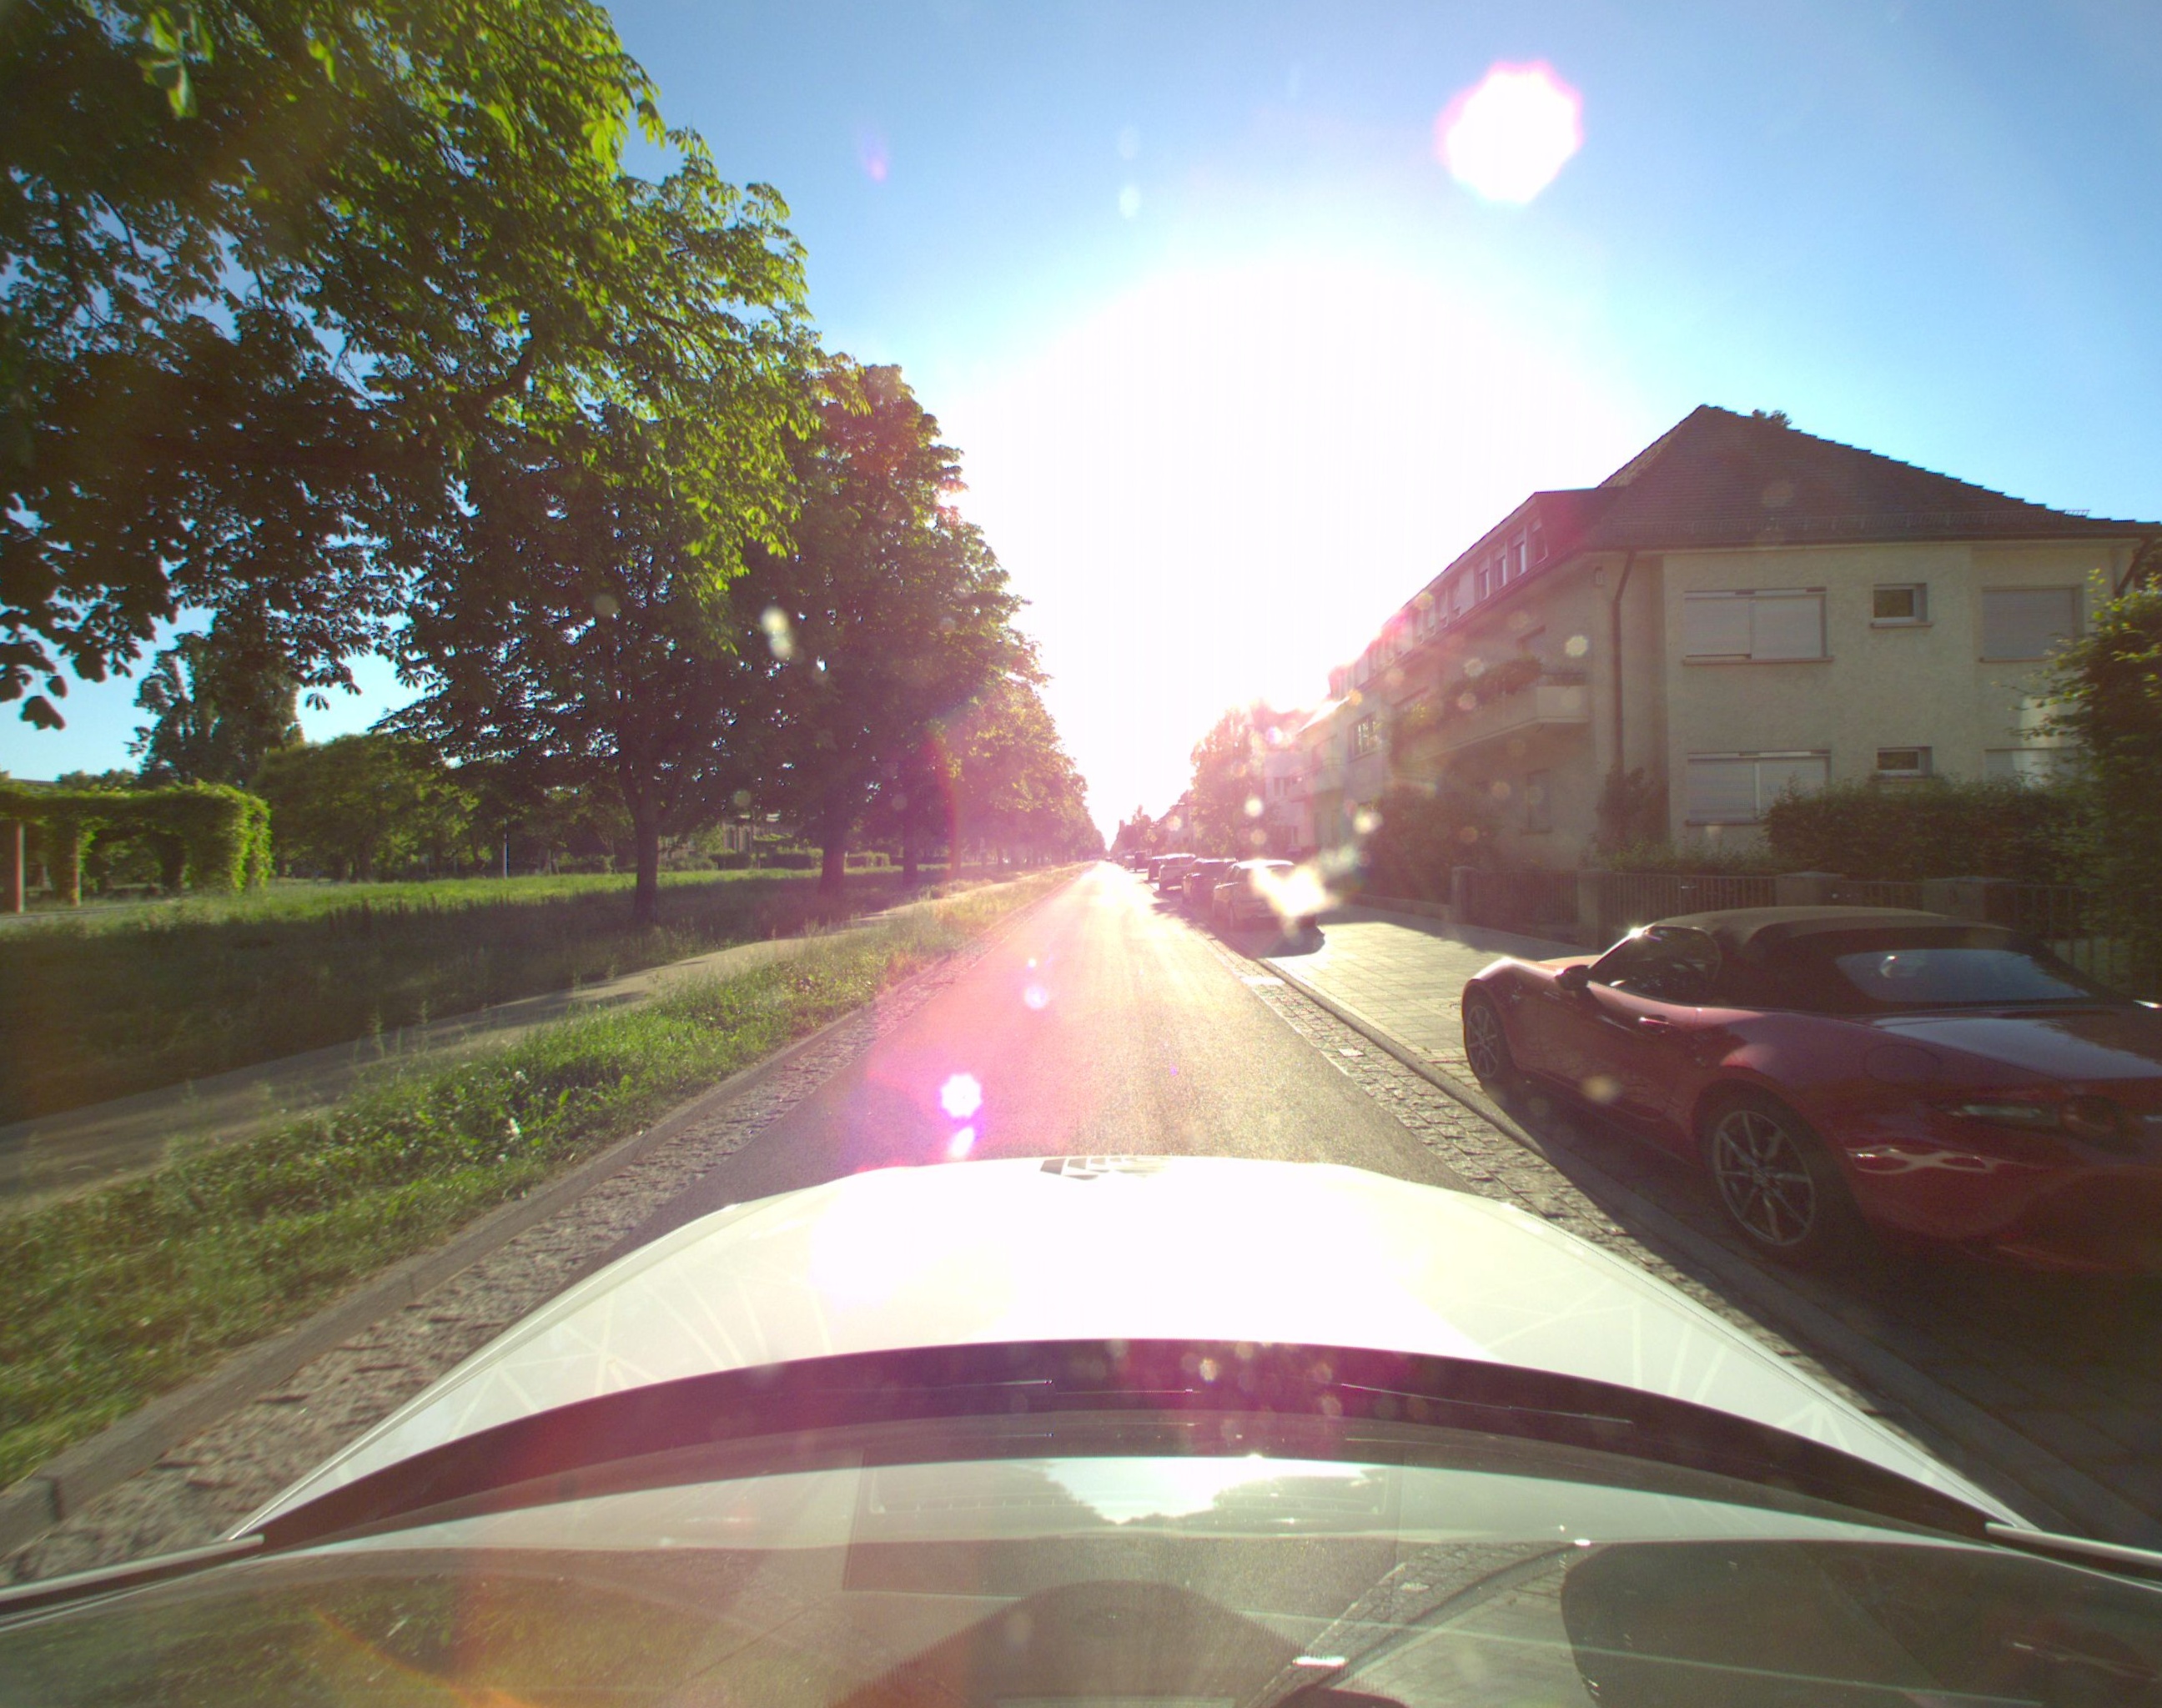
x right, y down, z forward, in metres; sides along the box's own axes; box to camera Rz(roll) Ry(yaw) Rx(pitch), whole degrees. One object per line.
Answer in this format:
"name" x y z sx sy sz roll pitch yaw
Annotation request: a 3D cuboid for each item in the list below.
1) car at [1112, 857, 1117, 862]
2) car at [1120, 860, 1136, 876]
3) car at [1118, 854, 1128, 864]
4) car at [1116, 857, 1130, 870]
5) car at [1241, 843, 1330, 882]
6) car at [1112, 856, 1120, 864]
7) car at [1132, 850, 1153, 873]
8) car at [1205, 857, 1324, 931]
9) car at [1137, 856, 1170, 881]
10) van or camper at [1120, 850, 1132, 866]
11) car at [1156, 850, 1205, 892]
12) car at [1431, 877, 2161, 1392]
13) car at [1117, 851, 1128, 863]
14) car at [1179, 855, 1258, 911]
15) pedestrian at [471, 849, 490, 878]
"car" 10.796 1.627 261.655 1.643 1.530 3.854 3 0 3
"car" 5.655 1.695 98.394 1.787 1.771 4.474 -3 0 2
"car" 7.121 0.884 137.172 1.657 1.593 4.088 1 0 2
"car" 5.618 1.240 110.326 1.825 1.685 4.417 1 0 2
"car" 10.155 0.423 40.625 3.975 1.845 1.813 1 1 -4
"car" 7.194 1.243 167.807 1.643 1.530 3.854 -2 0 3
"car" 6.148 0.741 81.906 1.898 2.132 4.818 -3 0 3
"car" 3.949 0.806 18.177 1.787 1.380 4.080 -3 0 2
"car" 4.619 0.883 52.181 1.787 1.482 4.125 -3 0 2
"van or camper" 7.874 0.714 143.684 1.936 2.778 5.942 1 -1 2
"car" 4.424 0.745 36.739 1.897 1.708 4.580 -3 -1 4
"car" 3.394 0.793 4.079 1.692 1.257 3.881 -1 -1 2
"car" 8.799 0.682 174.037 2.119 2.533 5.188 -2 0 0
"car" 4.107 0.820 24.946 1.787 1.494 4.195 -3 0 2
"pedestrian" -37.010 0.586 50.189 0.779 1.724 0.710 1 -1 -27
